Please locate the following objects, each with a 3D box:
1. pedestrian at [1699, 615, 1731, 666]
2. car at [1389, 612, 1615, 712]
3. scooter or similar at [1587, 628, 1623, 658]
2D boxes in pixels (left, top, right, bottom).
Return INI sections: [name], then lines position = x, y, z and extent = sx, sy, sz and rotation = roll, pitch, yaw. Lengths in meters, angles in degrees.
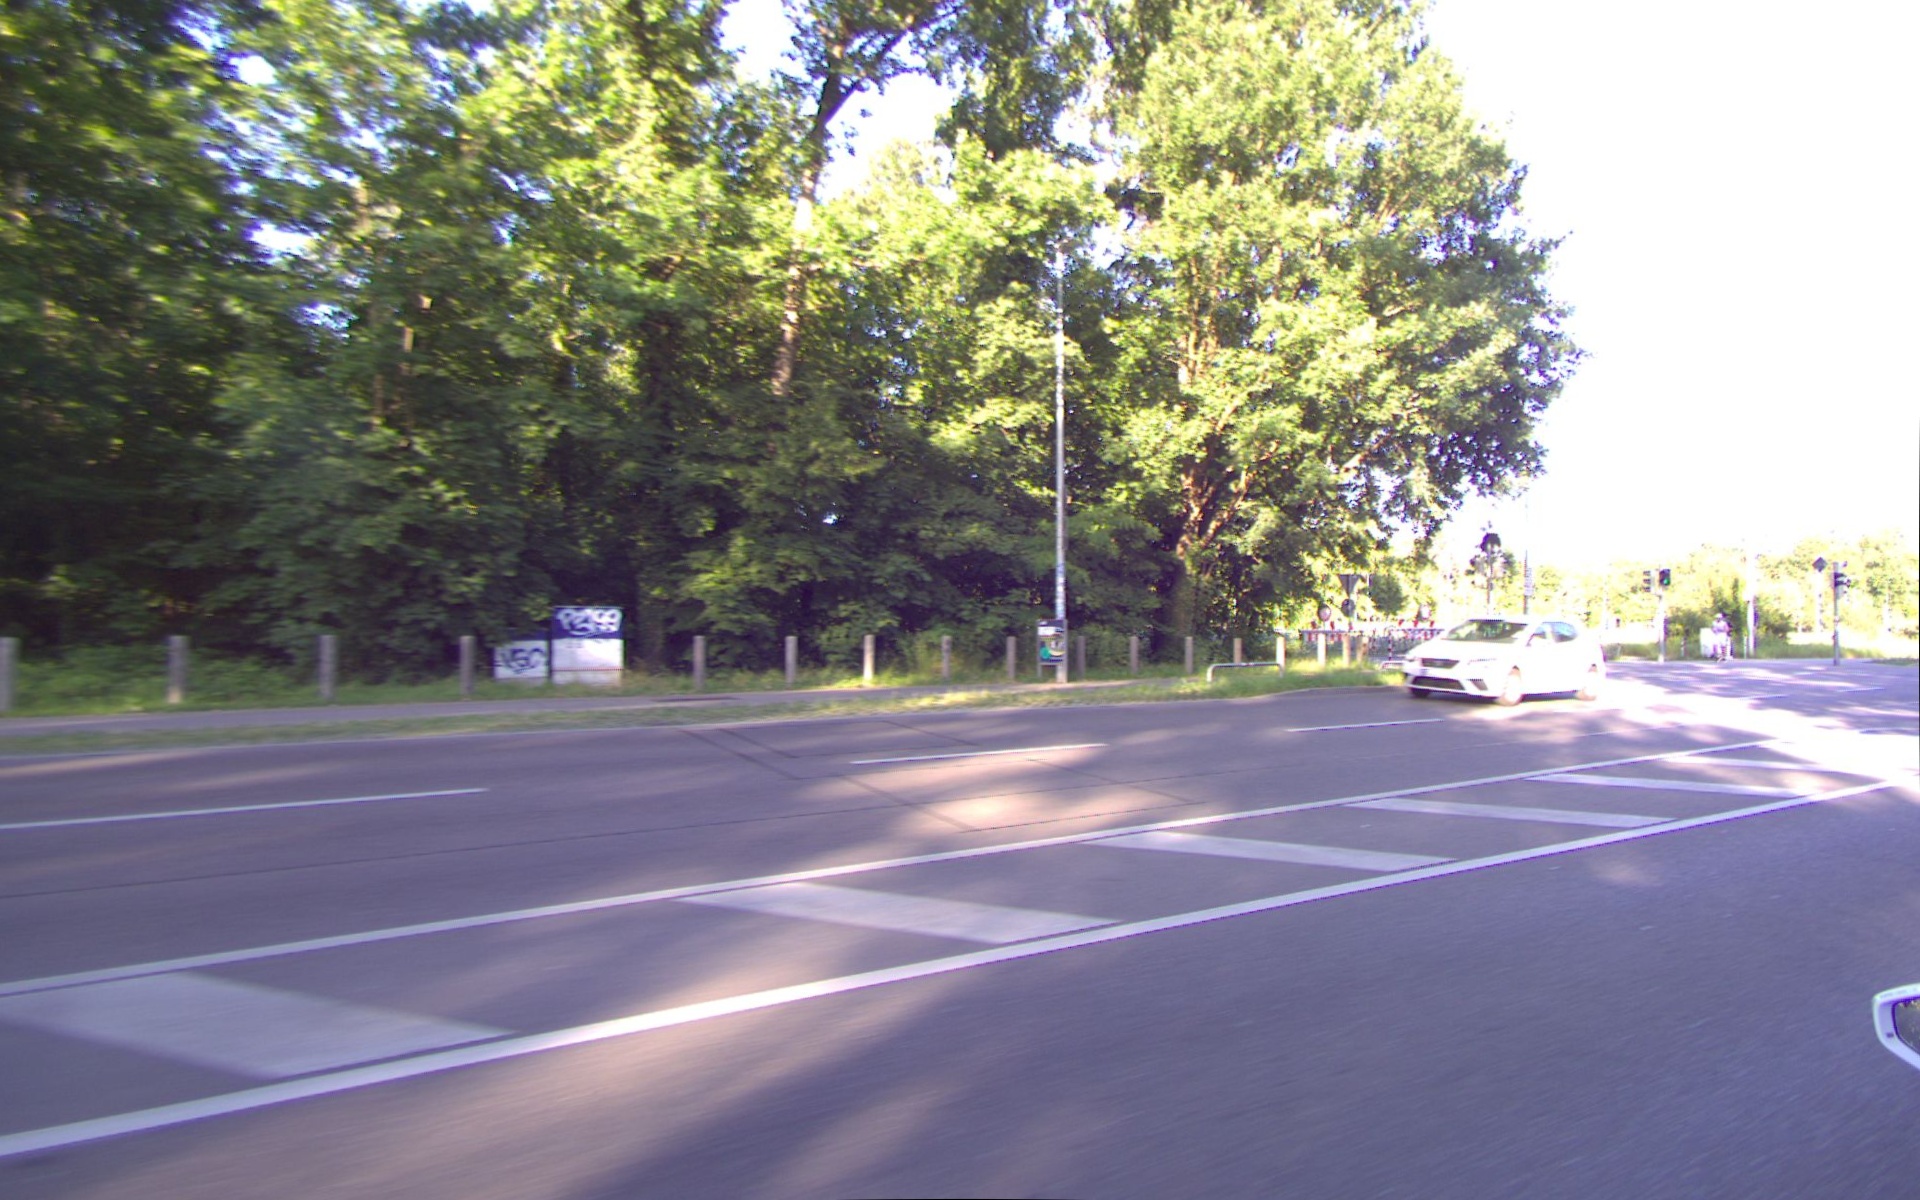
[pedestrian]
position = 28.876, 1.545, 38.396
extent = 1.094, 1.934, 0.609
rotation = 2, -2, -31
[car]
position = 9.399, 1.005, 17.322
extent = 4.057, 1.483, 1.700
rotation = 1, 0, -33
[scooter or similar]
position = 26.533, 1.768, 41.291
extent = 1.337, 1.240, 0.511
rotation = 1, -2, -17
